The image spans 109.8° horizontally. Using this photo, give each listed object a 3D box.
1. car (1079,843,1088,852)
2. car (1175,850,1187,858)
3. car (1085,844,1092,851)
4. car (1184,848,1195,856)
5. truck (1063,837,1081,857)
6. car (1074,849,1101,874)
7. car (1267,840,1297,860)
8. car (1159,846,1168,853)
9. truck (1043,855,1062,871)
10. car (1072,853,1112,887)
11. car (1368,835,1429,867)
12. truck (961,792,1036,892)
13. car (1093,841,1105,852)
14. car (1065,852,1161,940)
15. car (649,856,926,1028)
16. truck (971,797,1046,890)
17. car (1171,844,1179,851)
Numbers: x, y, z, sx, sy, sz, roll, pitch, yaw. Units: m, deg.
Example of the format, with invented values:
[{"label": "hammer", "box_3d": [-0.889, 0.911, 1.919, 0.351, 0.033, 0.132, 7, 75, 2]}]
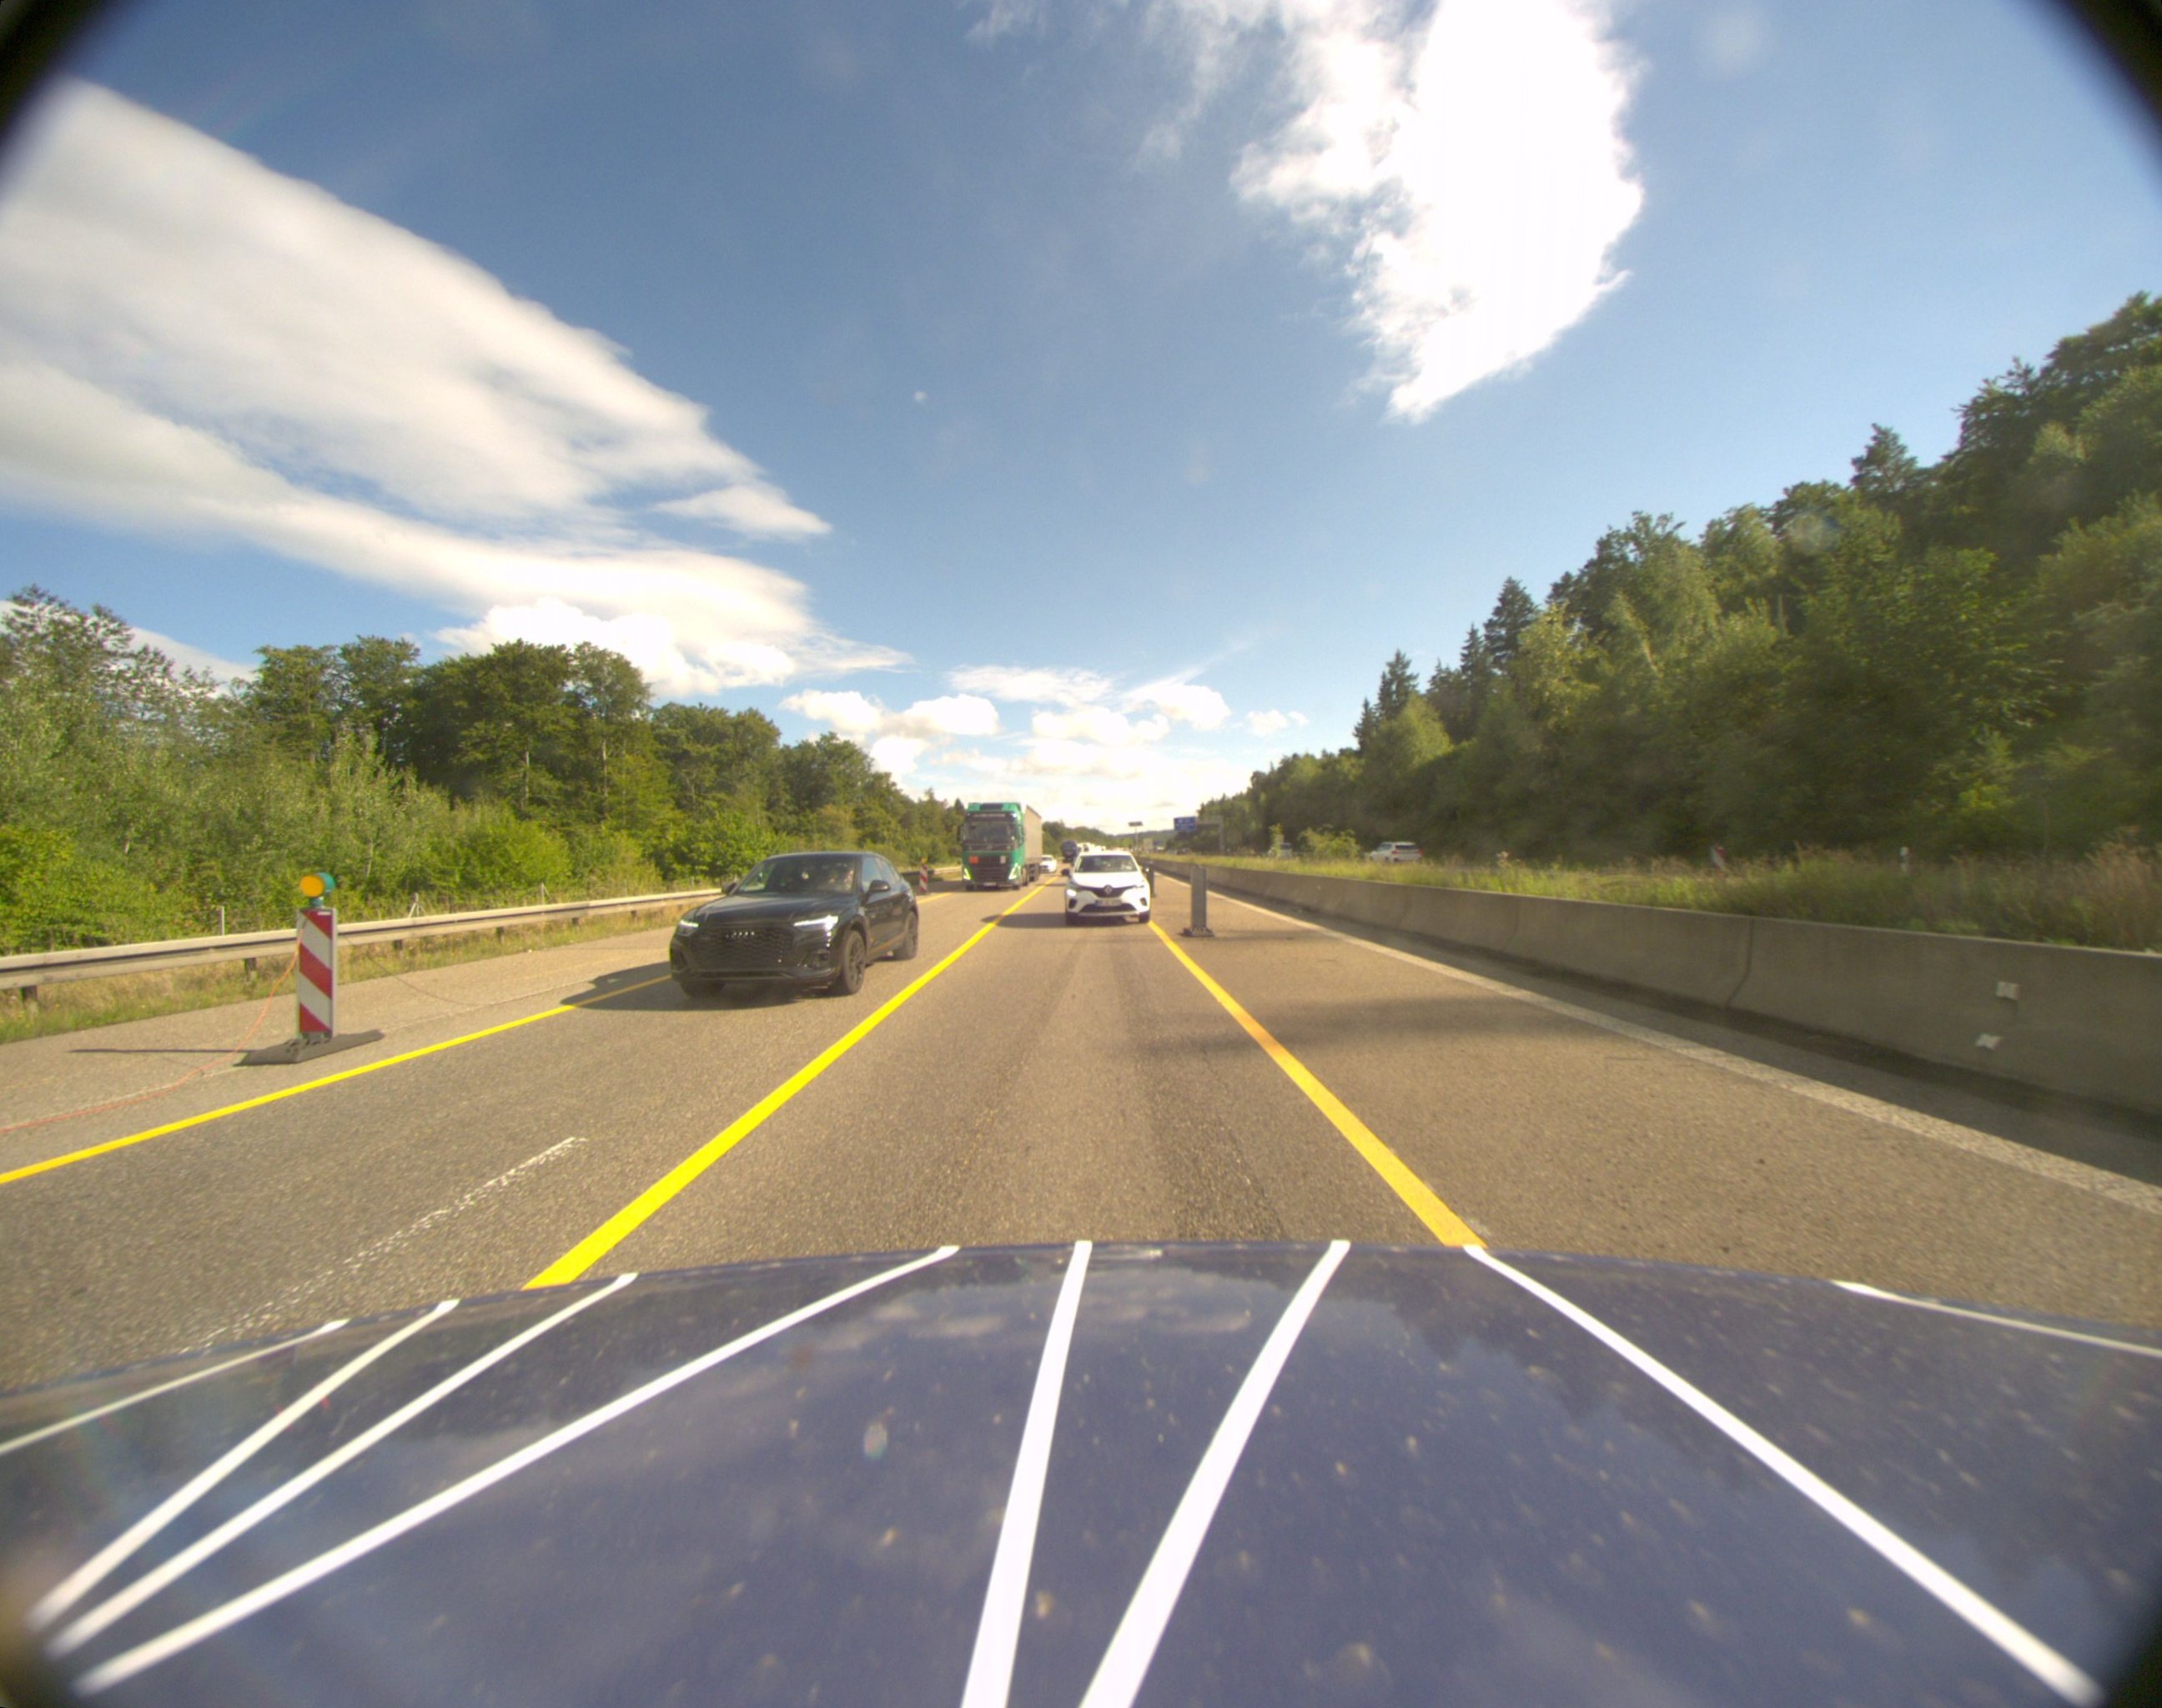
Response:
[{"label": "car", "box_3d": [0.523, -1.396, 159.505, 1.750, 1.787, 3.999, -2, 1, 0]}, {"label": "car", "box_3d": [18.612, -0.004, 141.355, 1.782, 1.448, 4.104, -2, 1, 1]}, {"label": "car", "box_3d": [1.813, -1.566, 182.406, 1.750, 1.787, 3.999, -2, 1, 0]}, {"label": "car", "box_3d": [24.312, -0.462, 170.069, 1.782, 1.679, 4.616, -2, 1, 1]}, {"label": "truck", "box_3d": [-1.507, -1.161, 128.047, 2.576, 3.168, 6.802, -2, 1, 3]}, {"label": "car", "box_3d": [0.463, 0.510, 53.997, 1.782, 1.593, 4.017, -2, 1, 1]}, {"label": "car", "box_3d": [19.704, -0.416, 74.556, 1.782, 1.775, 4.364, -2, 1, 1]}, {"label": "car", "box_3d": [21.452, -1.186, 197.382, 1.782, 1.891, 4.616, -2, 1, 1]}, {"label": "truck", "box_3d": [-2.385, 0.710, 63.361, 1.468, 1.215, 3.087, -2, 1, -2]}, {"label": "car", "box_3d": [0.520, 0.723, 36.896, 1.782, 1.468, 4.017, -2, 1, 1]}, {"label": "car", "box_3d": [18.802, -0.186, 45.208, 1.782, 1.775, 4.364, -2, 1, 1]}, {"label": "truck", "box_3d": [-3.610, -0.560, 34.969, 2.528, 4.076, 6.855, -2, 1, 0]}, {"label": "car", "box_3d": [3.277, -1.341, 140.374, 1.998, 2.002, 3.999, -2, 1, 1]}, {"label": "car", "box_3d": [0.639, 0.793, 16.586, 1.782, 1.593, 4.017, -2, 1, 1]}, {"label": "car", "box_3d": [-3.358, 0.886, 9.719, 1.782, 1.593, 4.293, -2, 1, 1]}, {"label": "truck", "box_3d": [-3.585, -0.488, 41.376, 2.470, 4.119, 14.210, -2, 0, 0]}, {"label": "car", "box_3d": [26.366, -1.827, 213.298, 1.782, 1.891, 4.616, -2, 1, 1]}]
